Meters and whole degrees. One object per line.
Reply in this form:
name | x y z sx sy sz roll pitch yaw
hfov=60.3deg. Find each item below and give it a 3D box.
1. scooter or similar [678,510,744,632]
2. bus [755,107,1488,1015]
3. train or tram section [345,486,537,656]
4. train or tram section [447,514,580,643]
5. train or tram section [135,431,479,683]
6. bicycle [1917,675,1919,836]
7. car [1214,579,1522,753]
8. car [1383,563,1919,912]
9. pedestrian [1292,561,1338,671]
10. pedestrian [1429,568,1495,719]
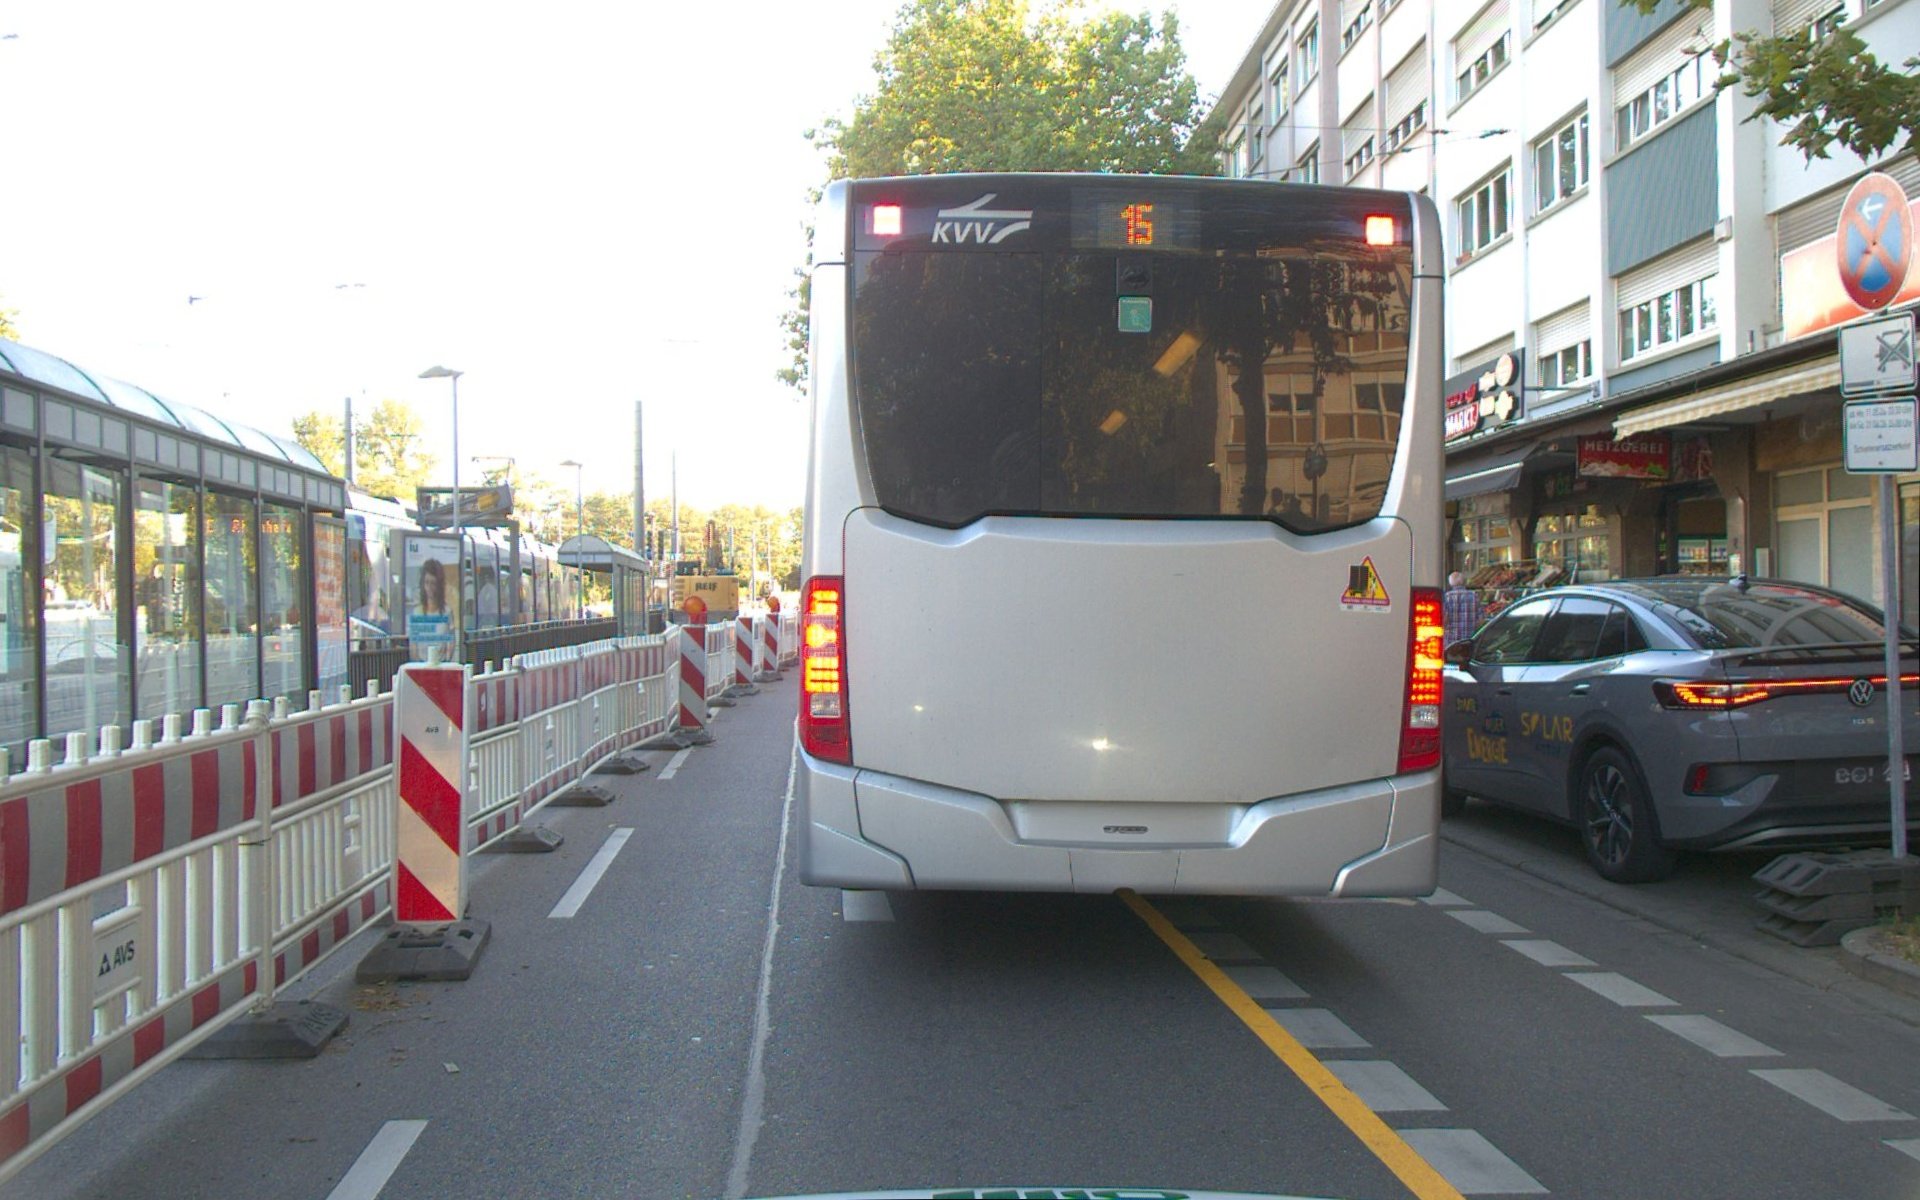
scooter or similar | -9.706 -1.071 64.675 2.422 4.549 5.962 0 0 -8
bus | 0.528 -0.125 9.898 2.558 3.181 7.991 1 0 -1
train or tram section | -12.619 -0.603 41.305 2.636 3.621 11.560 1 0 -8
train or tram section | -14.001 -0.597 52.745 2.636 3.594 11.559 1 0 -8
train or tram section | -11.152 -0.598 29.833 2.635 3.595 11.755 1 0 -6
bicycle | 4.370 0.906 6.405 0.541 1.175 1.444 -1 0 3
car | 4.351 0.628 18.412 1.955 1.609 4.363 -3 1 -5
car | 4.351 0.635 10.224 1.955 1.609 4.363 -3 1 -5
pedestrian | 6.732 0.302 31.401 0.672 2.049 0.786 -1 0 -1
pedestrian | 5.773 0.492 19.051 0.649 1.696 0.601 -2 -1 15
